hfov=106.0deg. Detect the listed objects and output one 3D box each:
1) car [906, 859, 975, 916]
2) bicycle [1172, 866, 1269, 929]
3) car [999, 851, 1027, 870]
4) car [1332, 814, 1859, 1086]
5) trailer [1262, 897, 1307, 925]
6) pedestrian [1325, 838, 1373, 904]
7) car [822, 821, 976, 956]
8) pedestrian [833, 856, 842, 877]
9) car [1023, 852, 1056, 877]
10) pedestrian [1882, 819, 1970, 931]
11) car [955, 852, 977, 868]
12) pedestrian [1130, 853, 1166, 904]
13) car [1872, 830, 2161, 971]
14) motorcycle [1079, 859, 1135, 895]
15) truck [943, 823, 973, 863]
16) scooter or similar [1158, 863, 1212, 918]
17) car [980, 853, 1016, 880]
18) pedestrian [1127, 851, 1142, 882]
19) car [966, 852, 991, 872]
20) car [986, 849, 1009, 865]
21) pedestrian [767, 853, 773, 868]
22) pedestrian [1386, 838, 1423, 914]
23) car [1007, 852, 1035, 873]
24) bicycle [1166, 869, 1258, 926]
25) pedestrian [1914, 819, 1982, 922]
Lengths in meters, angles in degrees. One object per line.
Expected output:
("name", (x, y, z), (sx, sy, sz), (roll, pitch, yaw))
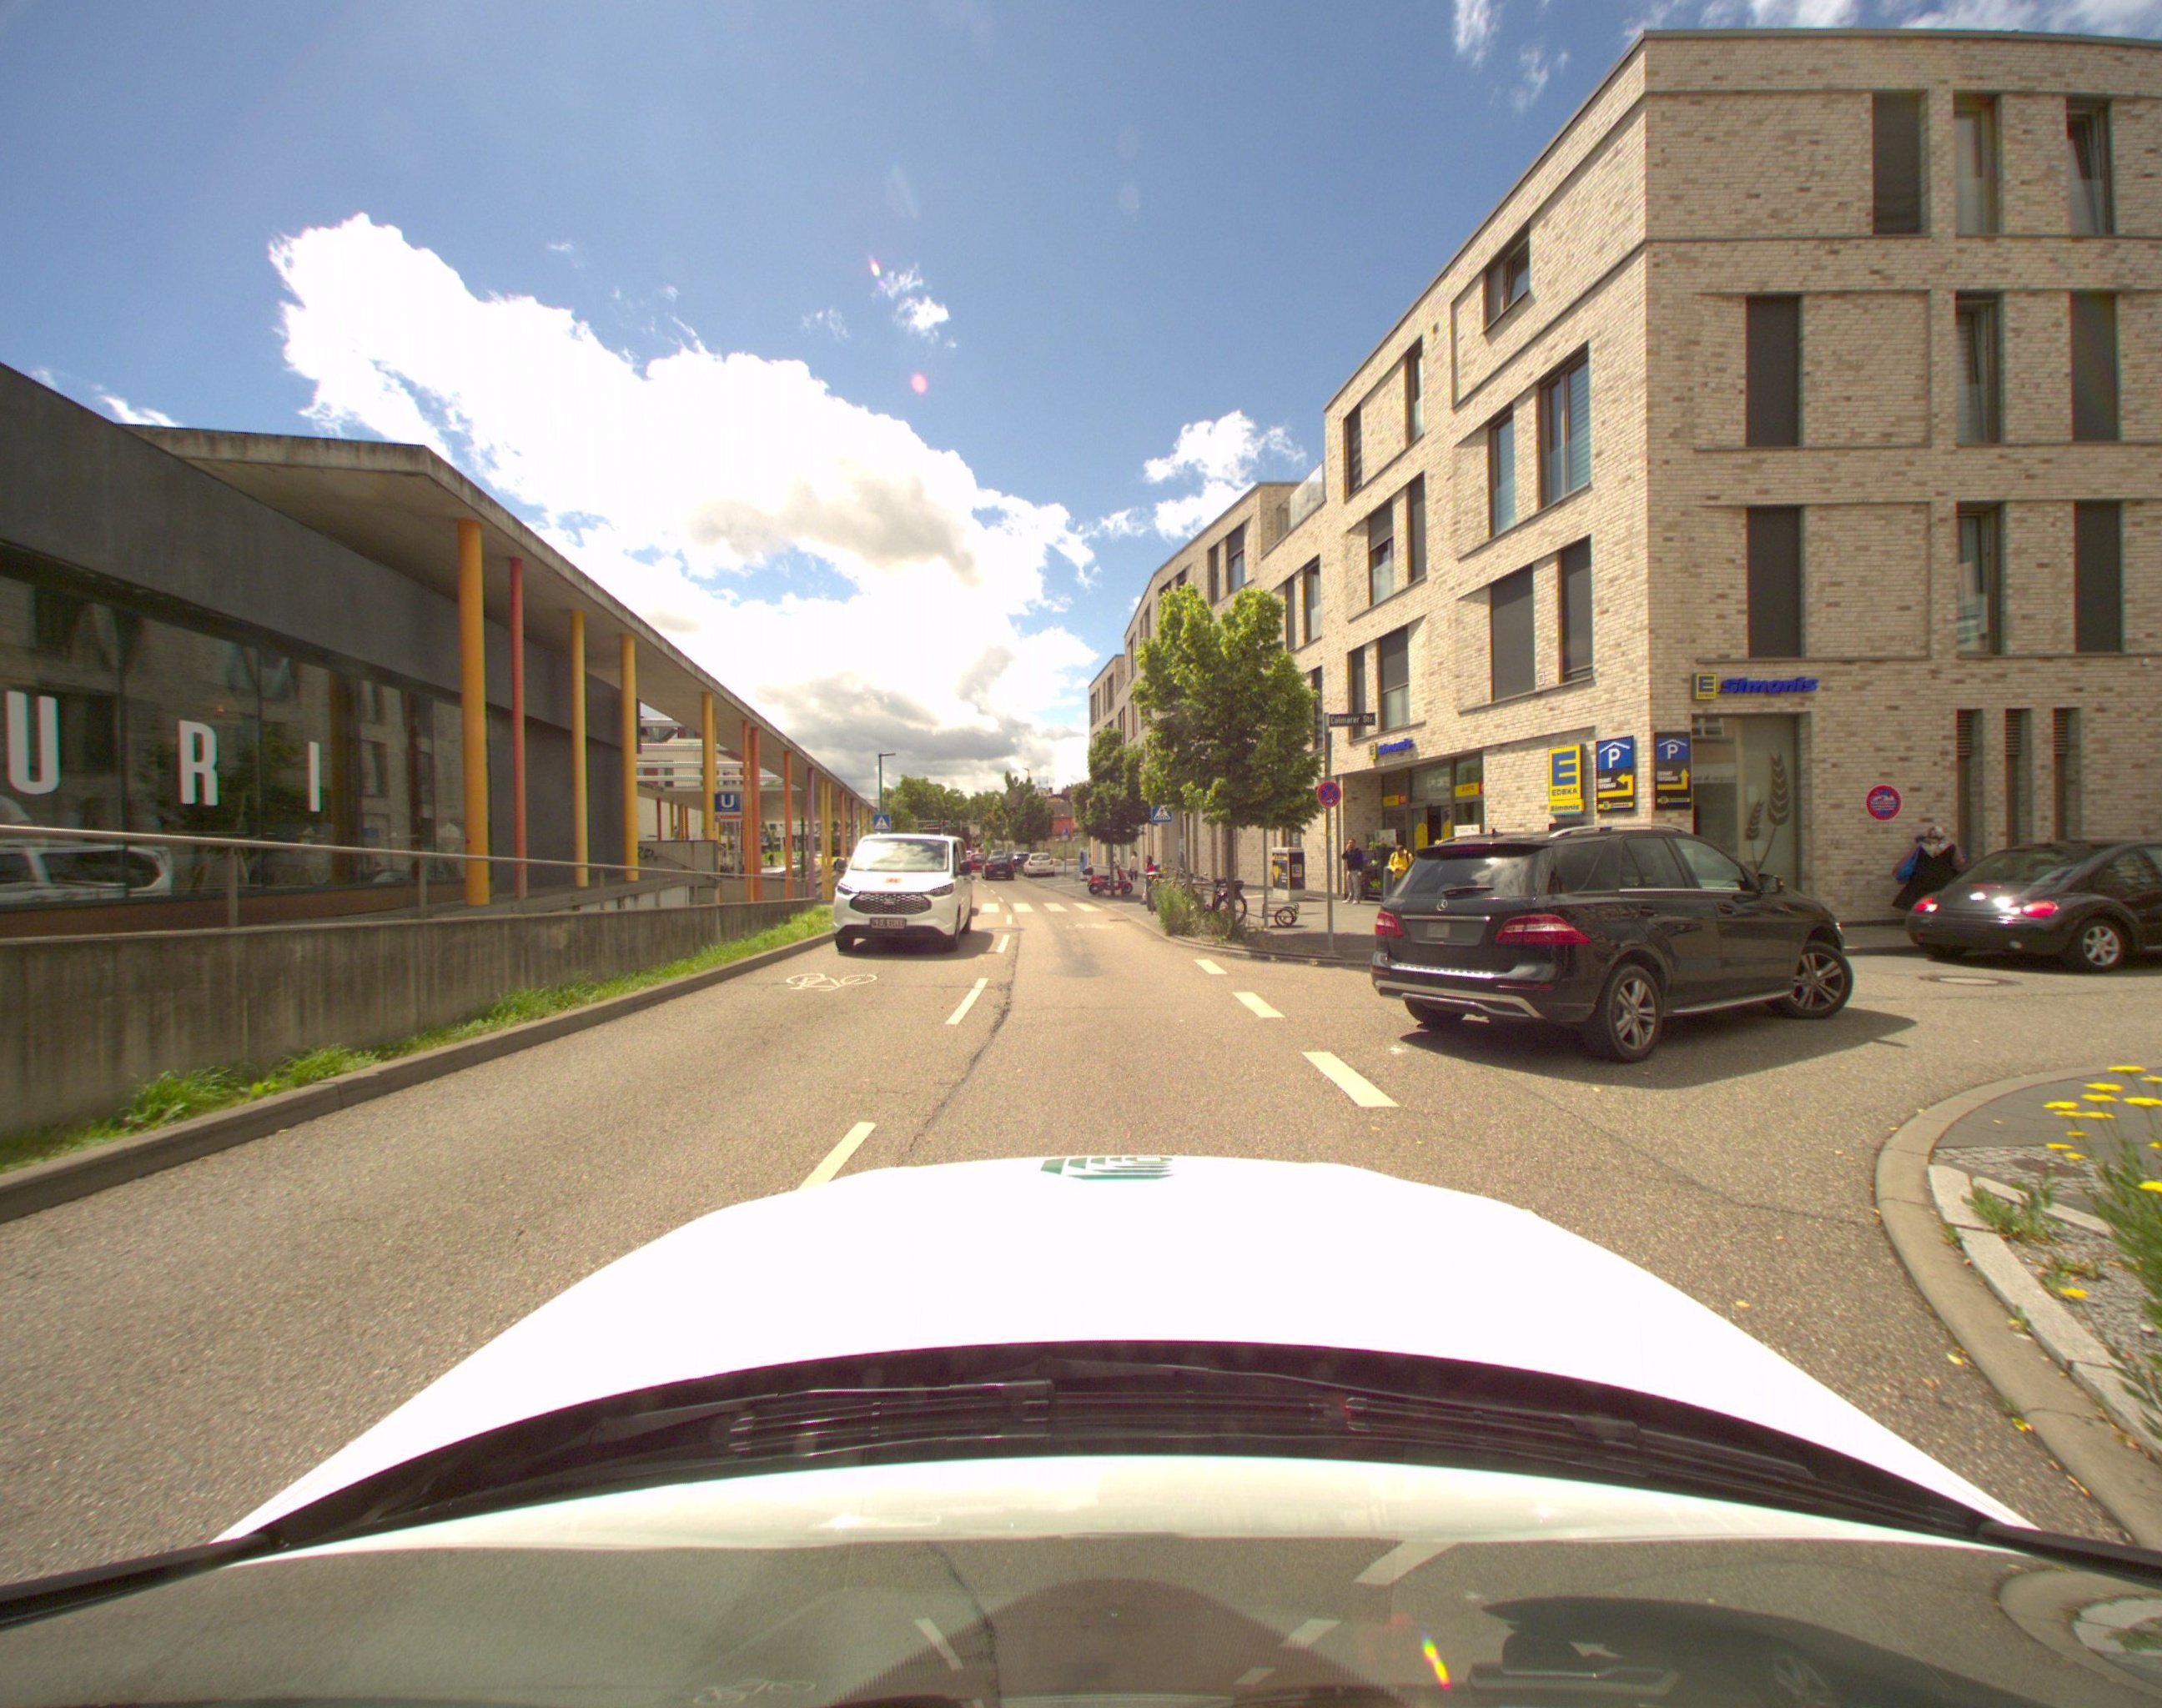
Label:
("car", (-3.935, 0.891, 23.332), (1.771, 1.464, 4.223), (0, 0, -8))
("bicycle", (2.886, 0.887, 16.930), (1.819, 1.201, 0.755), (-2, -1, -4))
("car", (-5.693, 0.531, 67.722), (1.865, 1.451, 4.627), (-3, 1, -10))
("car", (4.719, 0.610, 7.390), (4.542, 1.746, 1.982), (-3, 0, -27))
("trailer", (4.188, 1.166, 16.771), (0.717, 0.528, 0.811), (-1, -1, 0))
("pedestrian", (7.319, 0.445, 22.236), (1.016, 1.741, 0.656), (-1, 0, -14))
("car", (-3.076, 0.543, 14.960), (1.990, 2.014, 5.385), (1, 0, -5))
("pedestrian", (-20.471, 1.064, 68.384), (0.642, 1.808, 0.591), (0, -2, -11))
("car", (-2.702, 0.630, 52.040), (1.692, 1.483, 3.786), (-3, 1, -9))
("pedestrian", (13.113, 0.327, 12.647), (0.557, 1.671, 0.808), (1, -2, -31))
("car", (-11.464, 0.630, 81.087), (1.890, 1.465, 4.052), (-2, 0, -12))
("pedestrian", (2.074, 0.751, 25.270), (0.928, 1.565, 0.811), (0, -2, -12))
("car", (12.640, 0.502, 10.141), (3.883, 1.477, 1.782), (-3, 0, -2))
("motorcycle", (1.029, 0.892, 31.534), (2.039, 1.266, 0.674), (-3, -1, 7))
("truck", (-14.810, -1.236, 97.725), (3.204, 4.536, 8.994), (0, -1, -11))
("scooter or similar", (2.497, 0.871, 19.616), (1.194, 1.249, 0.493), (-2, -1, -4))
("car", (-5.005, 0.737, 48.714), (1.727, 1.456, 3.794), (-2, 1, -12))
("pedestrian", (2.649, 0.620, 40.667), (0.606, 1.472, 0.790), (-2, 1, -3))
("car", (-7.978, 0.591, 62.958), (1.712, 1.393, 3.796), (-2, 1, -10))
("car", (-8.458, 0.294, 82.086), (1.783, 1.451, 4.457), (-3, 1, -12))
("pedestrian", (-37.849, 0.768, 99.125), (0.642, 1.808, 0.591), (0, -2, -11))
("pedestrian", (7.366, 0.495, 18.556), (0.651, 1.692, 0.635), (-2, 0, 30))
("car", (-4.544, 0.593, 61.271), (1.692, 1.461, 4.134), (-3, 1, -9))
("bicycle", (2.841, 0.923, 17.710), (1.819, 1.131, 0.755), (-2, -1, -4))
("pedestrian", (13.716, 0.261, 12.885), (0.524, 1.573, 0.597), (1, -2, -31))
